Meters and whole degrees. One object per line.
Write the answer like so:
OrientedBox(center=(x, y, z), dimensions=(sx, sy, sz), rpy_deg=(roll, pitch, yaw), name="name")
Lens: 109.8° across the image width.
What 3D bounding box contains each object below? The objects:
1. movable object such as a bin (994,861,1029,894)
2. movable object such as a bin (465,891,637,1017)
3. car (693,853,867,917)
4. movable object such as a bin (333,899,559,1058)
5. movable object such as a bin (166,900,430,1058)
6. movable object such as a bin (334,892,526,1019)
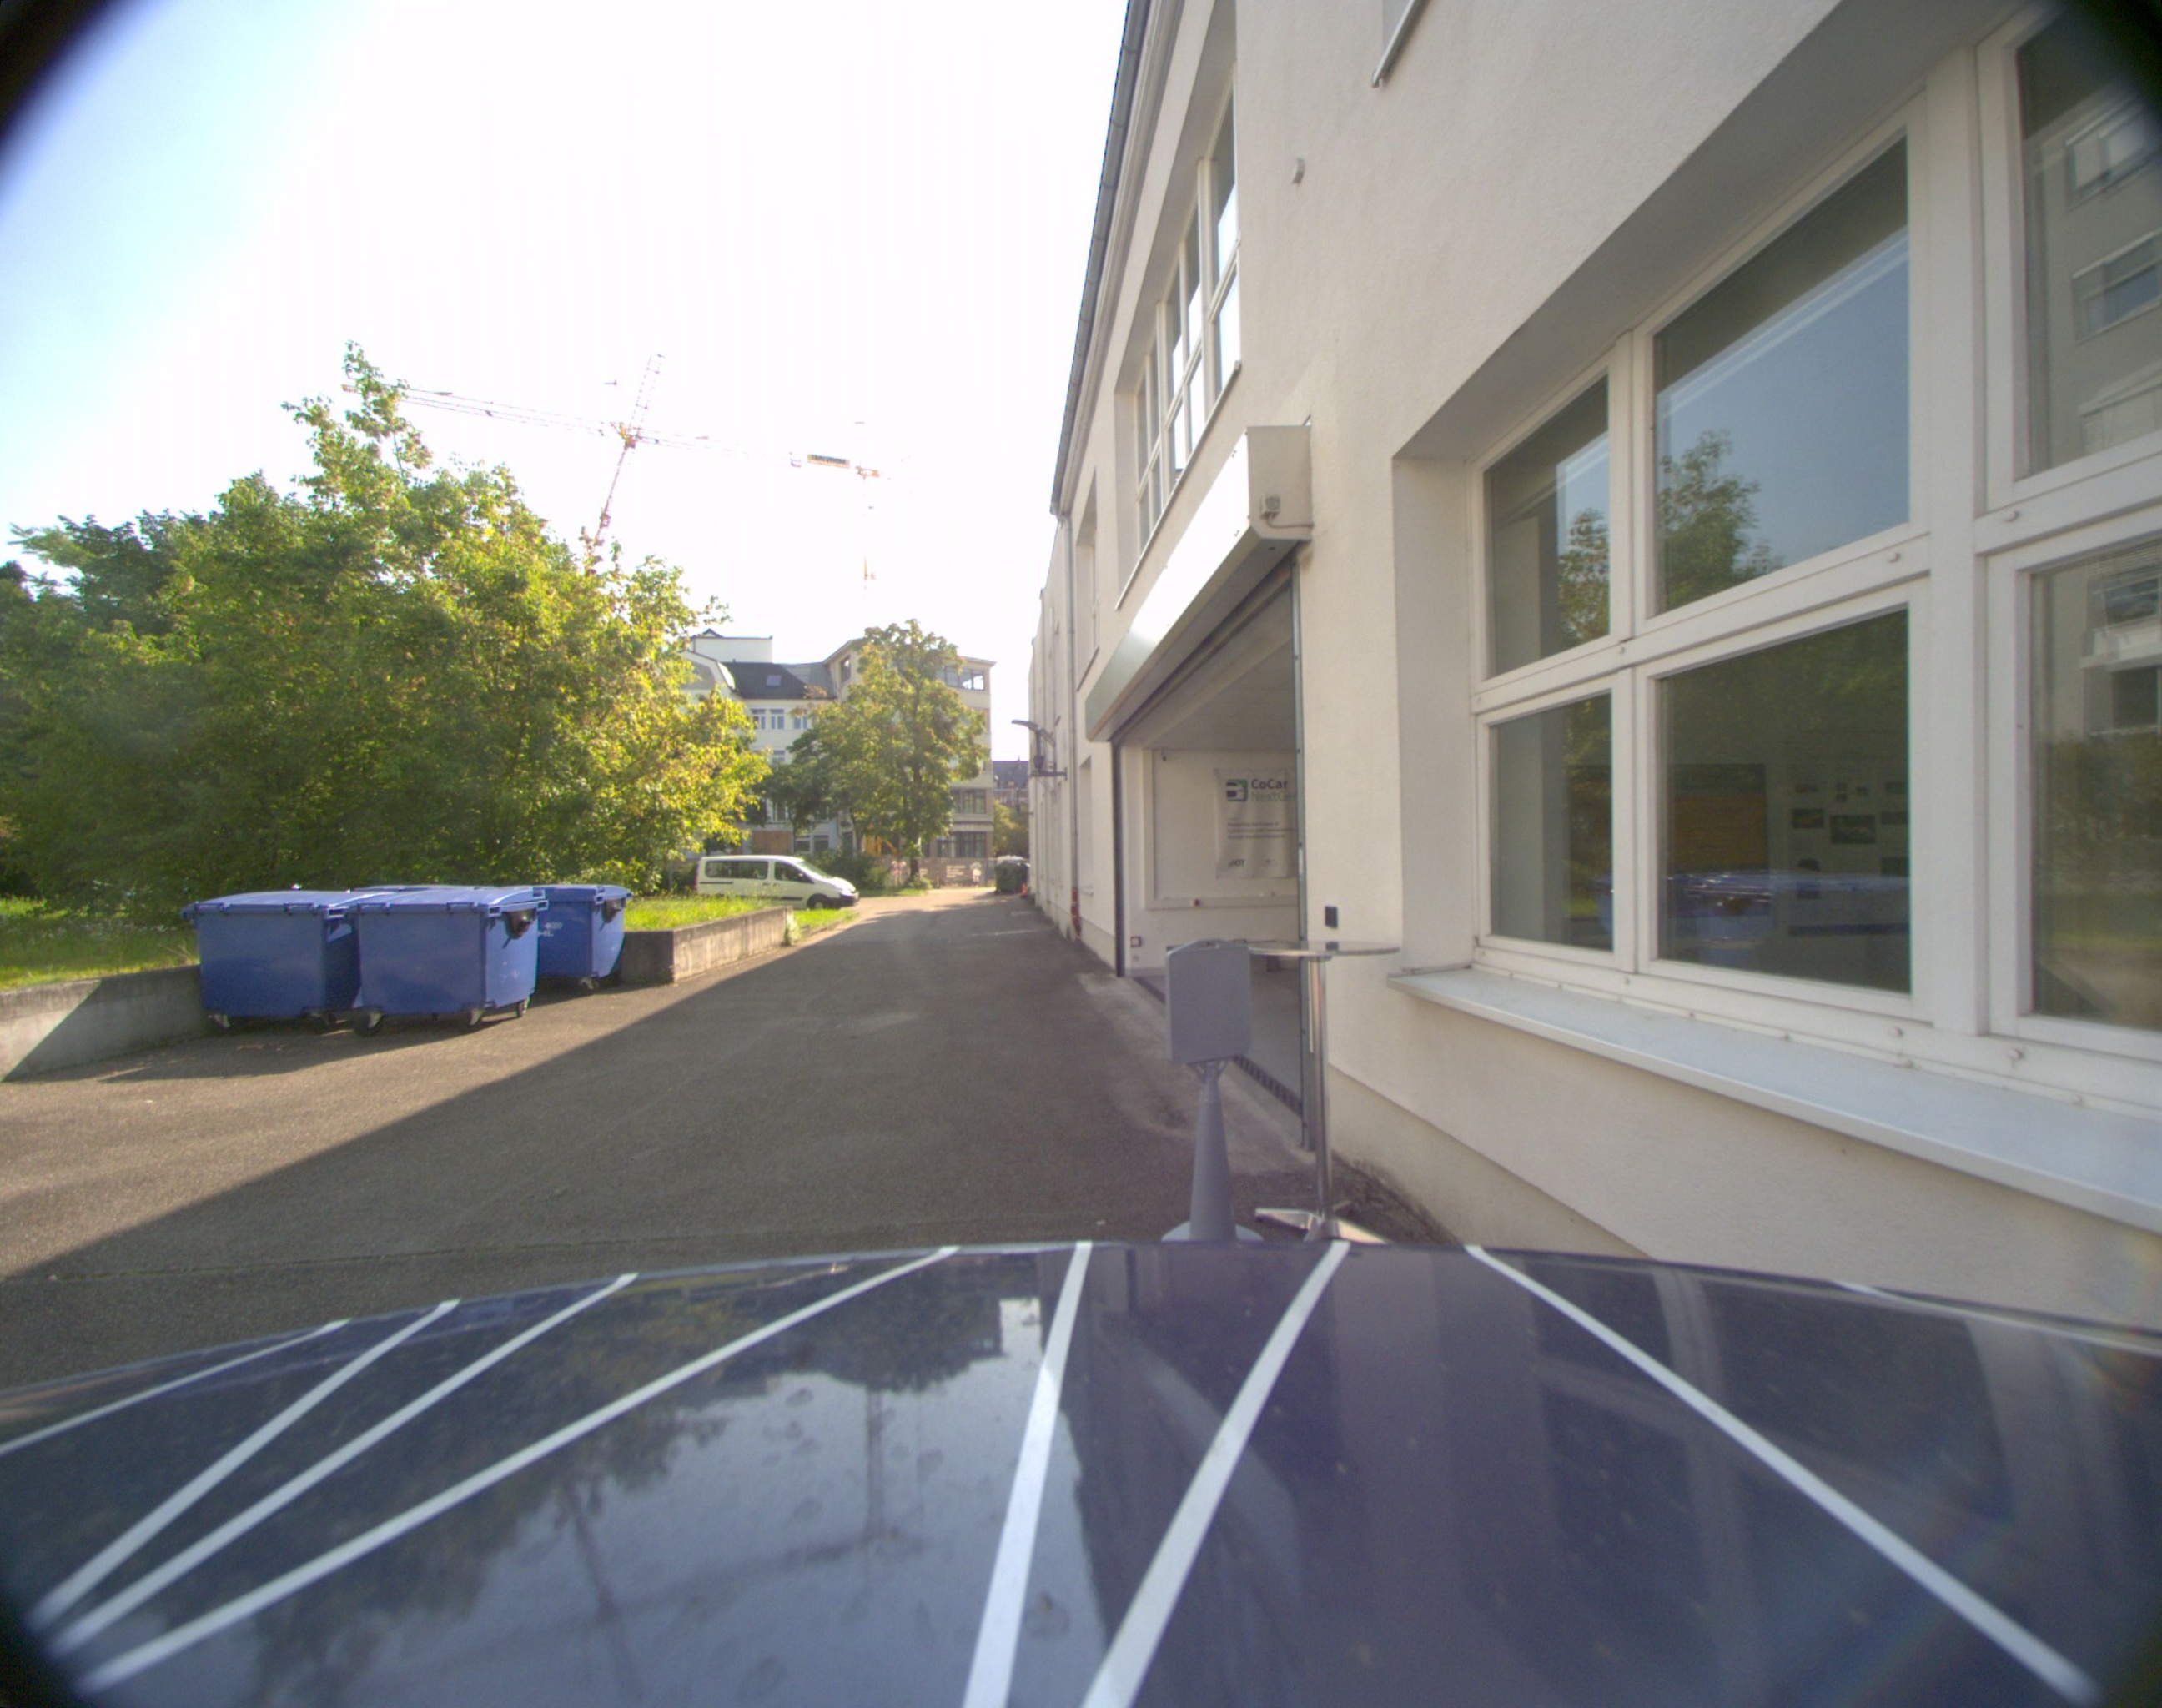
OrientedBox(center=(-3.149, 1.043, 34.539), dimensions=(1.525, 1.457, 1.274), rpy_deg=(-1, 0, -5), name="movable object such as a bin")
OrientedBox(center=(-6.315, 1.152, 9.162), dimensions=(1.200, 1.320, 1.274), rpy_deg=(-1, 0, -5), name="movable object such as a bin")
OrientedBox(center=(-9.531, 0.967, 24.386), dimensions=(4.792, 1.920, 1.908), rpy_deg=(-1, 0, -4), name="car")
OrientedBox(center=(-6.234, 1.169, 7.586), dimensions=(1.214, 1.343, 1.274), rpy_deg=(-1, 0, -8), name="movable object such as a bin")
OrientedBox(center=(-7.600, 1.159, 7.492), dimensions=(1.257, 1.320, 1.274), rpy_deg=(-1, 0, -5), name="movable object such as a bin")
OrientedBox(center=(-7.686, 1.157, 9.074), dimensions=(1.200, 1.320, 1.274), rpy_deg=(-1, 0, -5), name="movable object such as a bin")
